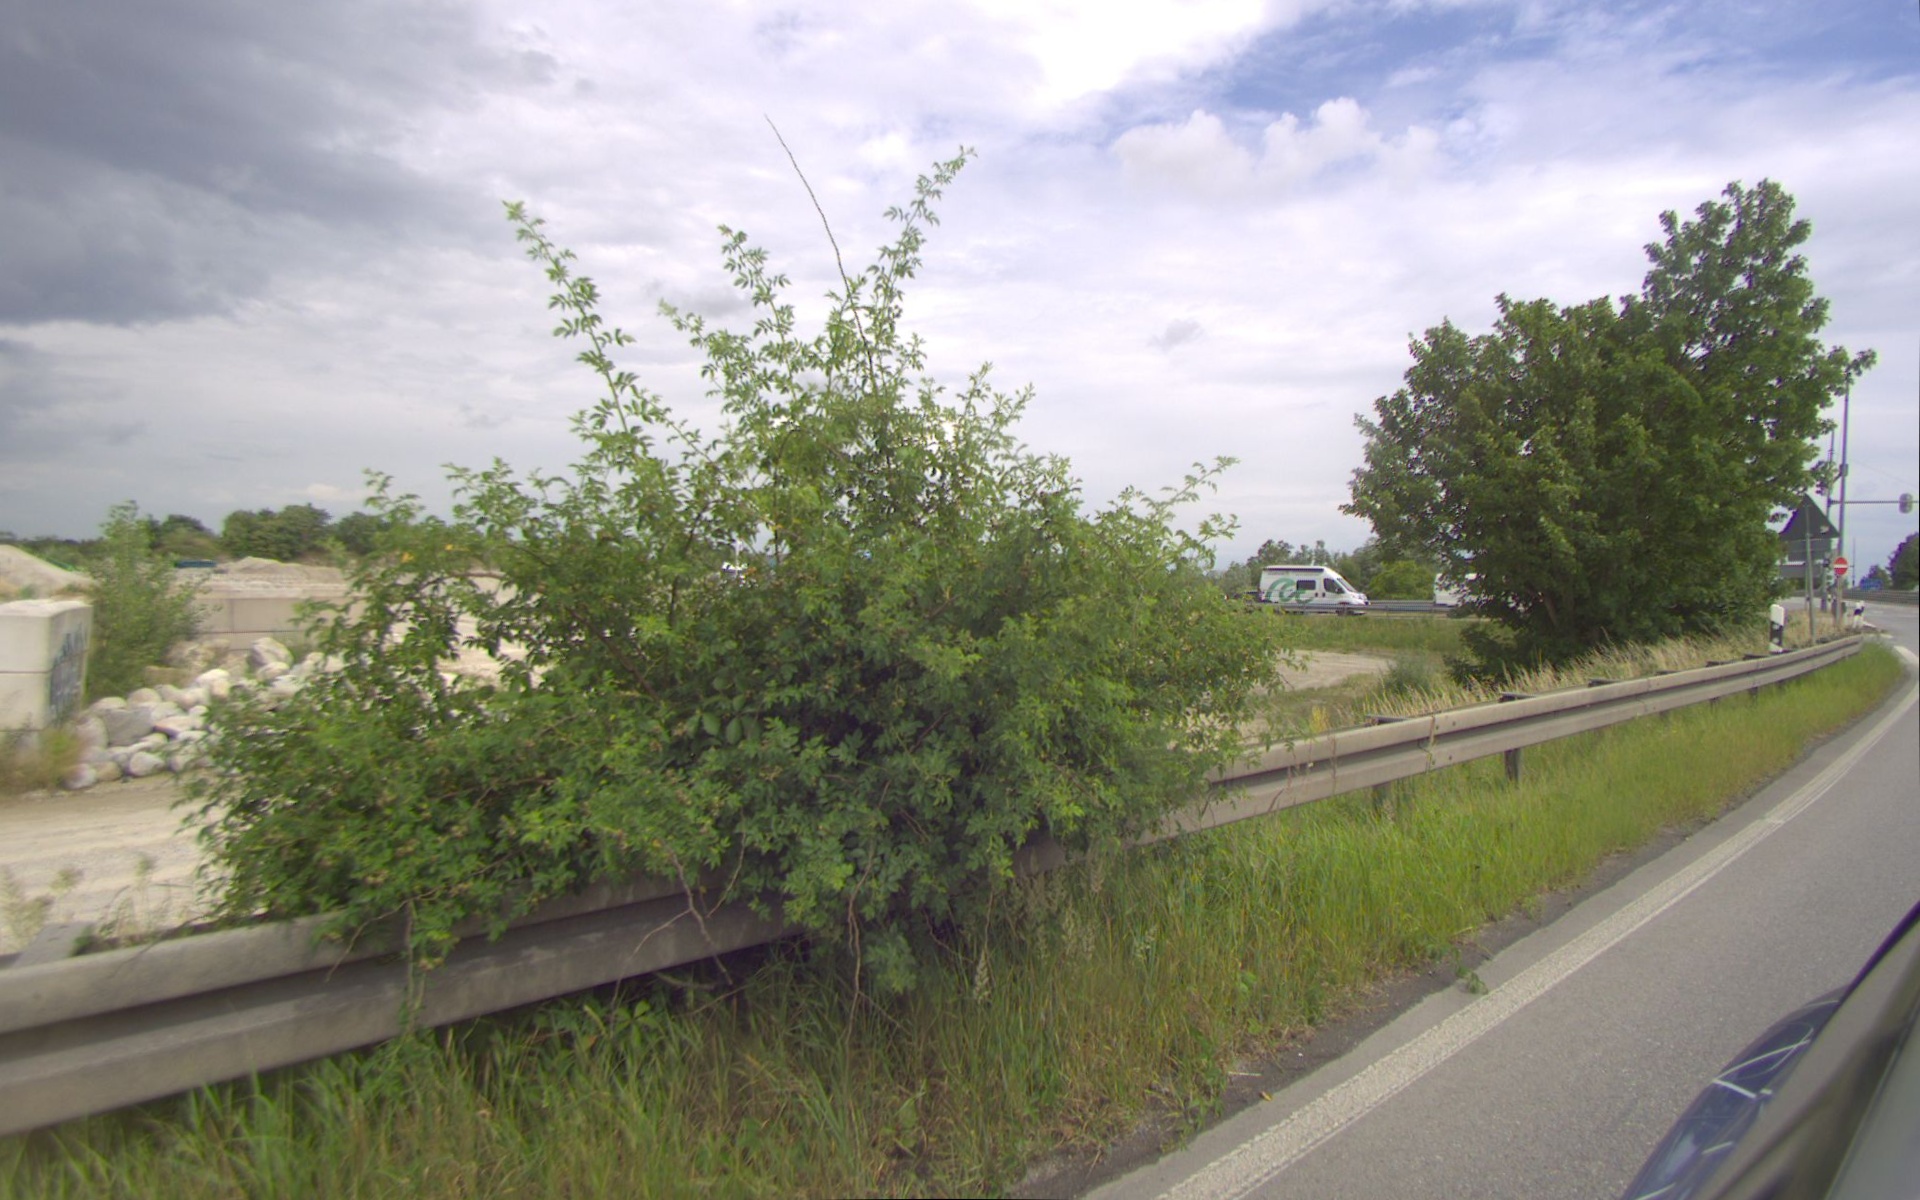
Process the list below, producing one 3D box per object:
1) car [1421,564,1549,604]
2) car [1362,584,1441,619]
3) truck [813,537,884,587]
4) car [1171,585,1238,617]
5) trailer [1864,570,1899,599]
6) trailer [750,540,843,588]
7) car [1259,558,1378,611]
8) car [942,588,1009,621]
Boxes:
[{"bbox_3d":[28.046,-0.854,54.187,5.867,2.039,2.032,1,0,39],"label":"car"},{"bbox_3d":[26.427,0.094,60.601,3.980,2.039,1.904,1,0,39],"label":"car"},{"bbox_3d":[-8.113,-2.697,73.398,2.350,3.347,5.586,1,-1,-41],"label":"truck"},{"bbox_3d":[16.425,0.056,68.069,3.980,2.039,1.904,1,0,39],"label":"car"},{"bbox_3d":[152.842,-2.494,167.952,3.119,4.691,8.717,-1,0,35],"label":"trailer"},{"bbox_3d":[-13.038,-2.688,79.728,2.347,3.352,11.227,1,-1,-36],"label":"trailer"},{"bbox_3d":[18.533,-0.817,52.424,5.383,2.599,2.429,2,0,34],"label":"car"},{"bbox_3d":[1.000,0.272,66.024,3.980,2.039,1.904,2,0,39],"label":"car"}]
